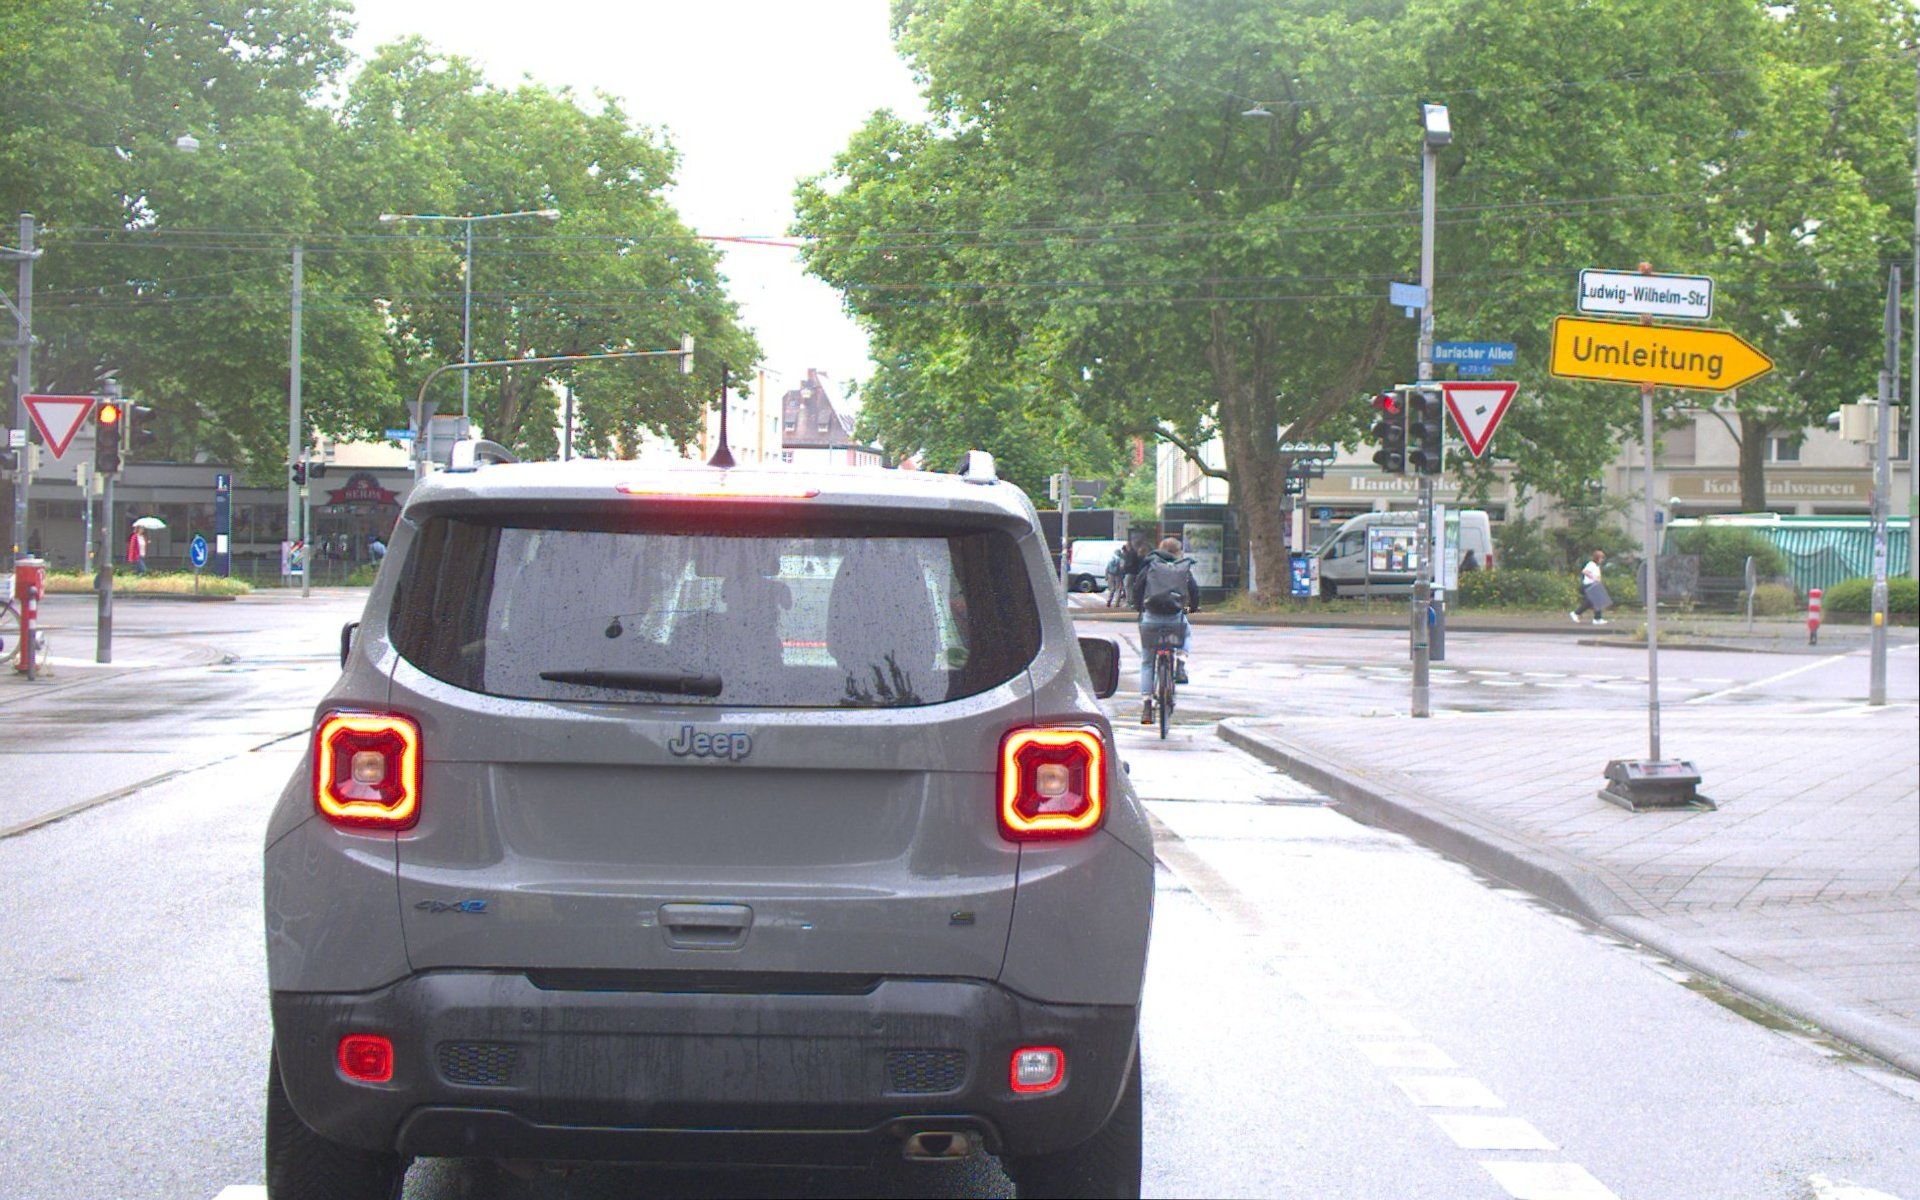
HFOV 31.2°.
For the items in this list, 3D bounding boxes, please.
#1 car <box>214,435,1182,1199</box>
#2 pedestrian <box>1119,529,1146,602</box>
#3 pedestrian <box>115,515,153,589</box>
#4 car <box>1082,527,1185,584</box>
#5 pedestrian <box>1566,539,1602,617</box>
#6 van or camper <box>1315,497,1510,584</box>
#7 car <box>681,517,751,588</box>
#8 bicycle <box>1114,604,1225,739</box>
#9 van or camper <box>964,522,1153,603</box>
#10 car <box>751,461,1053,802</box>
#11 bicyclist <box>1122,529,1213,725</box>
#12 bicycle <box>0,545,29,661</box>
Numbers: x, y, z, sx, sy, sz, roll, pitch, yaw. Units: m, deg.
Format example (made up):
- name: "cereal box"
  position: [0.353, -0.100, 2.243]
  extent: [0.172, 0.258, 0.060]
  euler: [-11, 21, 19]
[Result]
- name: "car"
  position: [-0.526, 0.499, 8.251]
  extent: [1.775, 1.681, 3.848]
  euler: [0, 1, -1]
- name: "pedestrian"
  position: [4.771, -0.964, 95.174]
  extent: [0.651, 2.007, 0.482]
  euler: [1, 1, 12]
- name: "pedestrian"
  position: [-20.441, -1.199, 85.078]
  extent: [0.692, 1.820, 0.620]
  euler: [0, 1, 15]
- name: "car"
  position: [6.148, -1.559, 121.948]
  extent: [3.438, 2.007, 1.547]
  euler: [0, 0, 13]
- name: "pedestrian"
  position: [12.856, -0.453, 70.835]
  extent: [0.613, 1.598, 0.493]
  euler: [1, 1, 24]
- name: "van or camper"
  position: [12.763, -1.686, 97.242]
  extent: [5.260, 2.307, 2.090]
  euler: [1, 1, 4]
- name: "car"
  position: [-6.216, -1.225, 87.539]
  extent: [1.721, 1.733, 3.730]
  euler: [1, 1, -4]
- name: "bicycle"
  position: [1.727, 0.573, 28.742]
  extent: [0.691, 1.018, 2.658]
  euler: [0, 1, -2]
- name: "van or camper"
  position: [3.640, -1.403, 127.124]
  extent: [6.536, 2.902, 2.491]
  euler: [1, 1, 26]
- name: "car"
  position: [-0.374, 0.149, 22.417]
  extent: [1.770, 2.007, 4.000]
  euler: [1, 1, -1]
- name: "bicyclist"
  position: [1.724, 0.211, 28.663]
  extent: [0.687, 1.612, 0.884]
  euler: [0, 1, -2]
- name: "bicycle"
  position: [-11.171, 0.022, 37.686]
  extent: [1.763, 1.262, 0.608]
  euler: [0, 1, -2]
